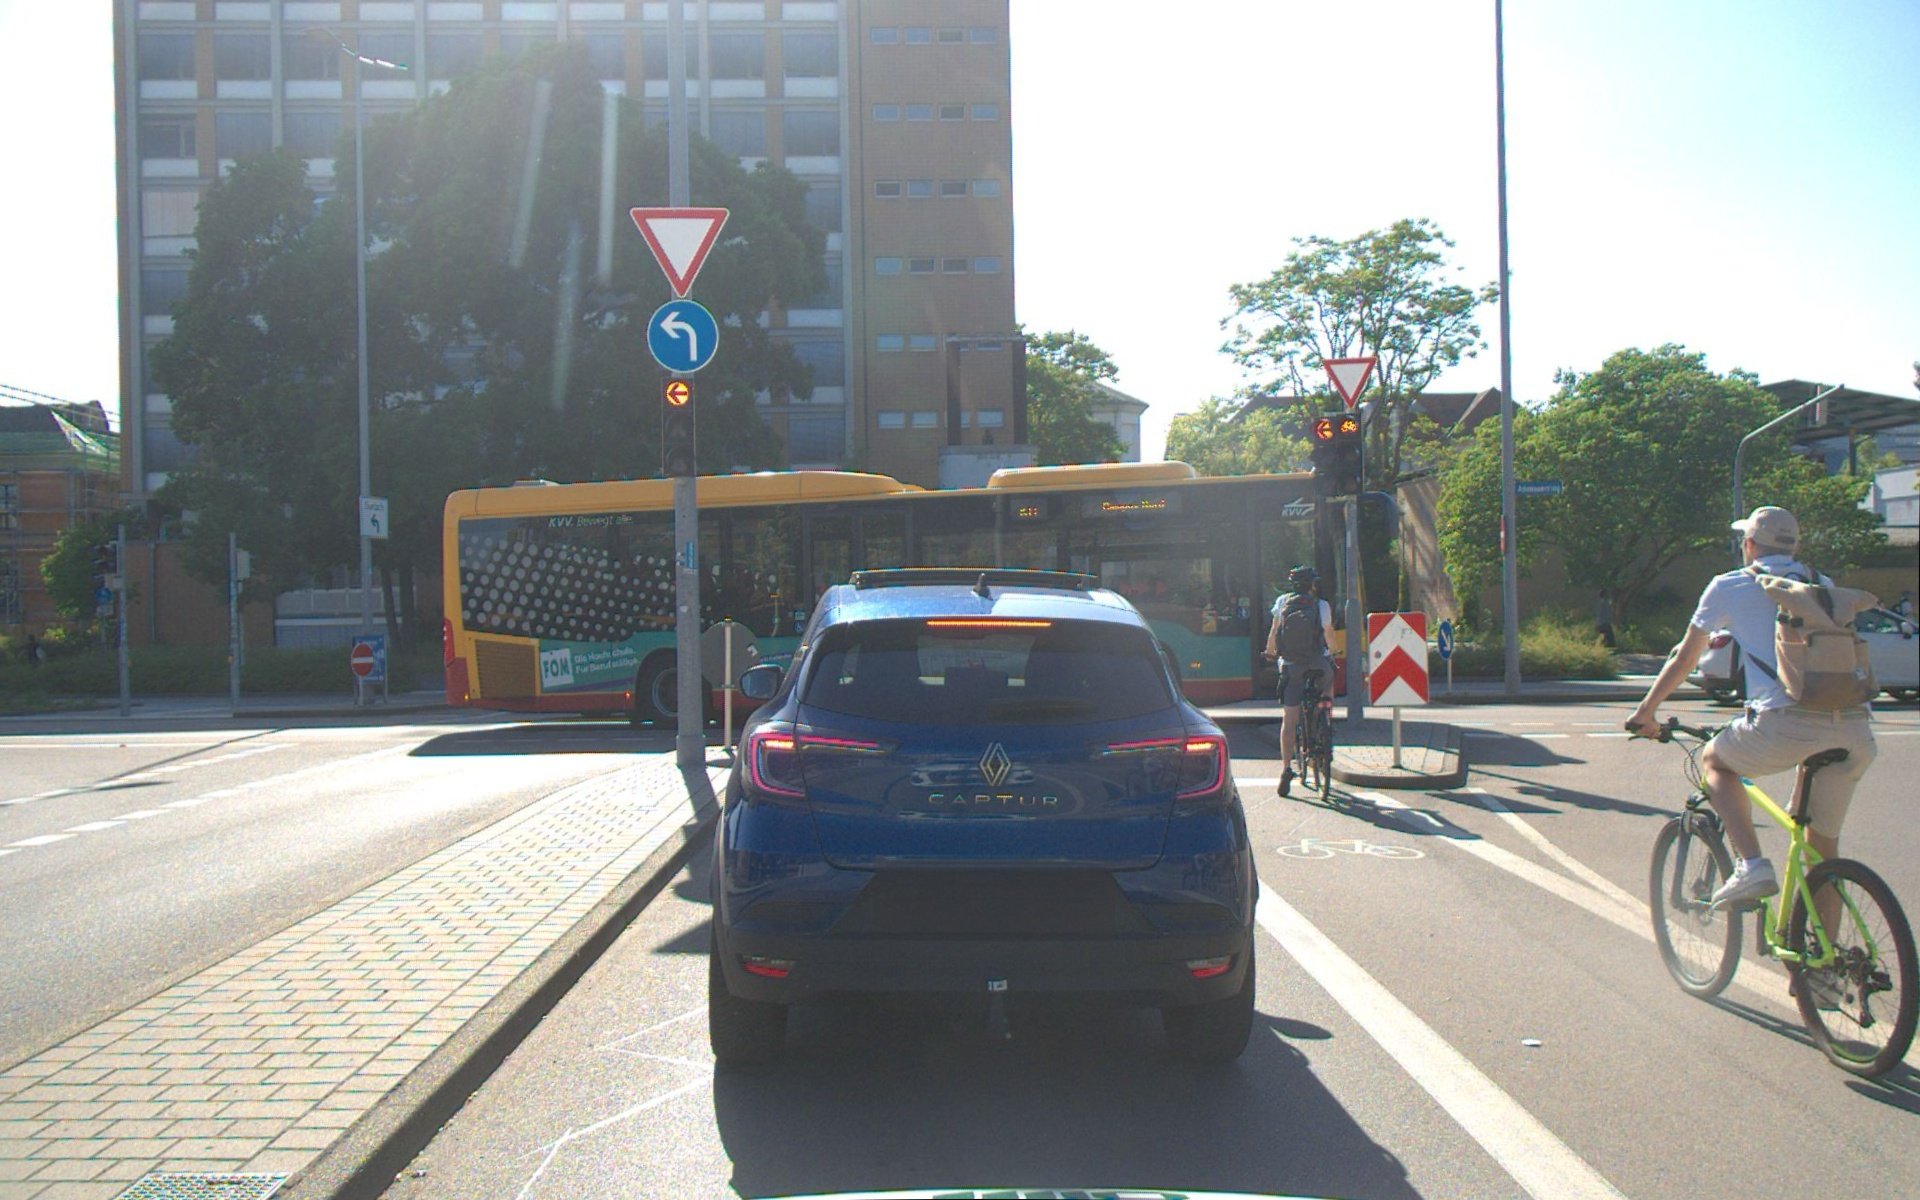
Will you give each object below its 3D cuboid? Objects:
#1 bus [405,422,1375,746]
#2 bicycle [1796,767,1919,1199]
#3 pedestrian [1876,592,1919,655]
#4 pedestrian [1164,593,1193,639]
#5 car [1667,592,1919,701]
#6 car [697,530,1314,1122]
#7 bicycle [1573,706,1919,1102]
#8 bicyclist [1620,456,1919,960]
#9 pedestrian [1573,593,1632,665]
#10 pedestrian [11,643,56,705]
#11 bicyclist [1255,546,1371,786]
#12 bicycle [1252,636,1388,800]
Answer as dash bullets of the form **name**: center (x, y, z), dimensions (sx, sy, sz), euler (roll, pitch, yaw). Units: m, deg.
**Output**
- **bus**: center (-0.889, -0.083, 21.585), dimensions (12.157, 3.633, 3.253), euler (-1, 0, 14)
- **bicycle**: center (2.616, 0.976, 3.424), dimensions (0.732, 1.069, 1.902), euler (-1, 0, -2)
- **pedestrian**: center (23.813, 0.577, 41.626), dimensions (1.062, 1.547, 0.931), euler (-1, 0, 9)
- **pedestrian**: center (9.938, 0.707, 75.239), dimensions (1.132, 2.049, 1.164), euler (-1, 0, -1)
- **car**: center (12.011, 0.619, 22.693), dimensions (3.902, 1.397, 1.761), euler (-1, 0, 9)
- **car**: center (0.081, 0.642, 6.666), dimensions (1.758, 1.684, 3.852), euler (1, 0, -2)
- **bicycle**: center (2.890, 0.978, 5.904), dimensions (0.657, 1.069, 1.843), euler (1, 0, -2)
- **bicyclist**: center (2.906, 0.348, 5.860), dimensions (0.660, 1.610, 1.081), euler (1, 0, -2)
- **pedestrian**: center (17.005, 0.761, 43.800), dimensions (1.269, 1.888, 0.967), euler (-1, 0, 11)
- **pedestrian**: center (-31.193, 2.482, 55.678), dimensions (0.807, 2.049, 1.014), euler (-1, 0, 23)
- **bicyclist**: center (2.770, 0.505, 13.048), dimensions (0.663, 1.816, 0.939), euler (1, -1, -2)
- **bicycle**: center (2.797, 0.882, 13.015), dimensions (0.602, 1.158, 1.825), euler (0, 0, -2)
